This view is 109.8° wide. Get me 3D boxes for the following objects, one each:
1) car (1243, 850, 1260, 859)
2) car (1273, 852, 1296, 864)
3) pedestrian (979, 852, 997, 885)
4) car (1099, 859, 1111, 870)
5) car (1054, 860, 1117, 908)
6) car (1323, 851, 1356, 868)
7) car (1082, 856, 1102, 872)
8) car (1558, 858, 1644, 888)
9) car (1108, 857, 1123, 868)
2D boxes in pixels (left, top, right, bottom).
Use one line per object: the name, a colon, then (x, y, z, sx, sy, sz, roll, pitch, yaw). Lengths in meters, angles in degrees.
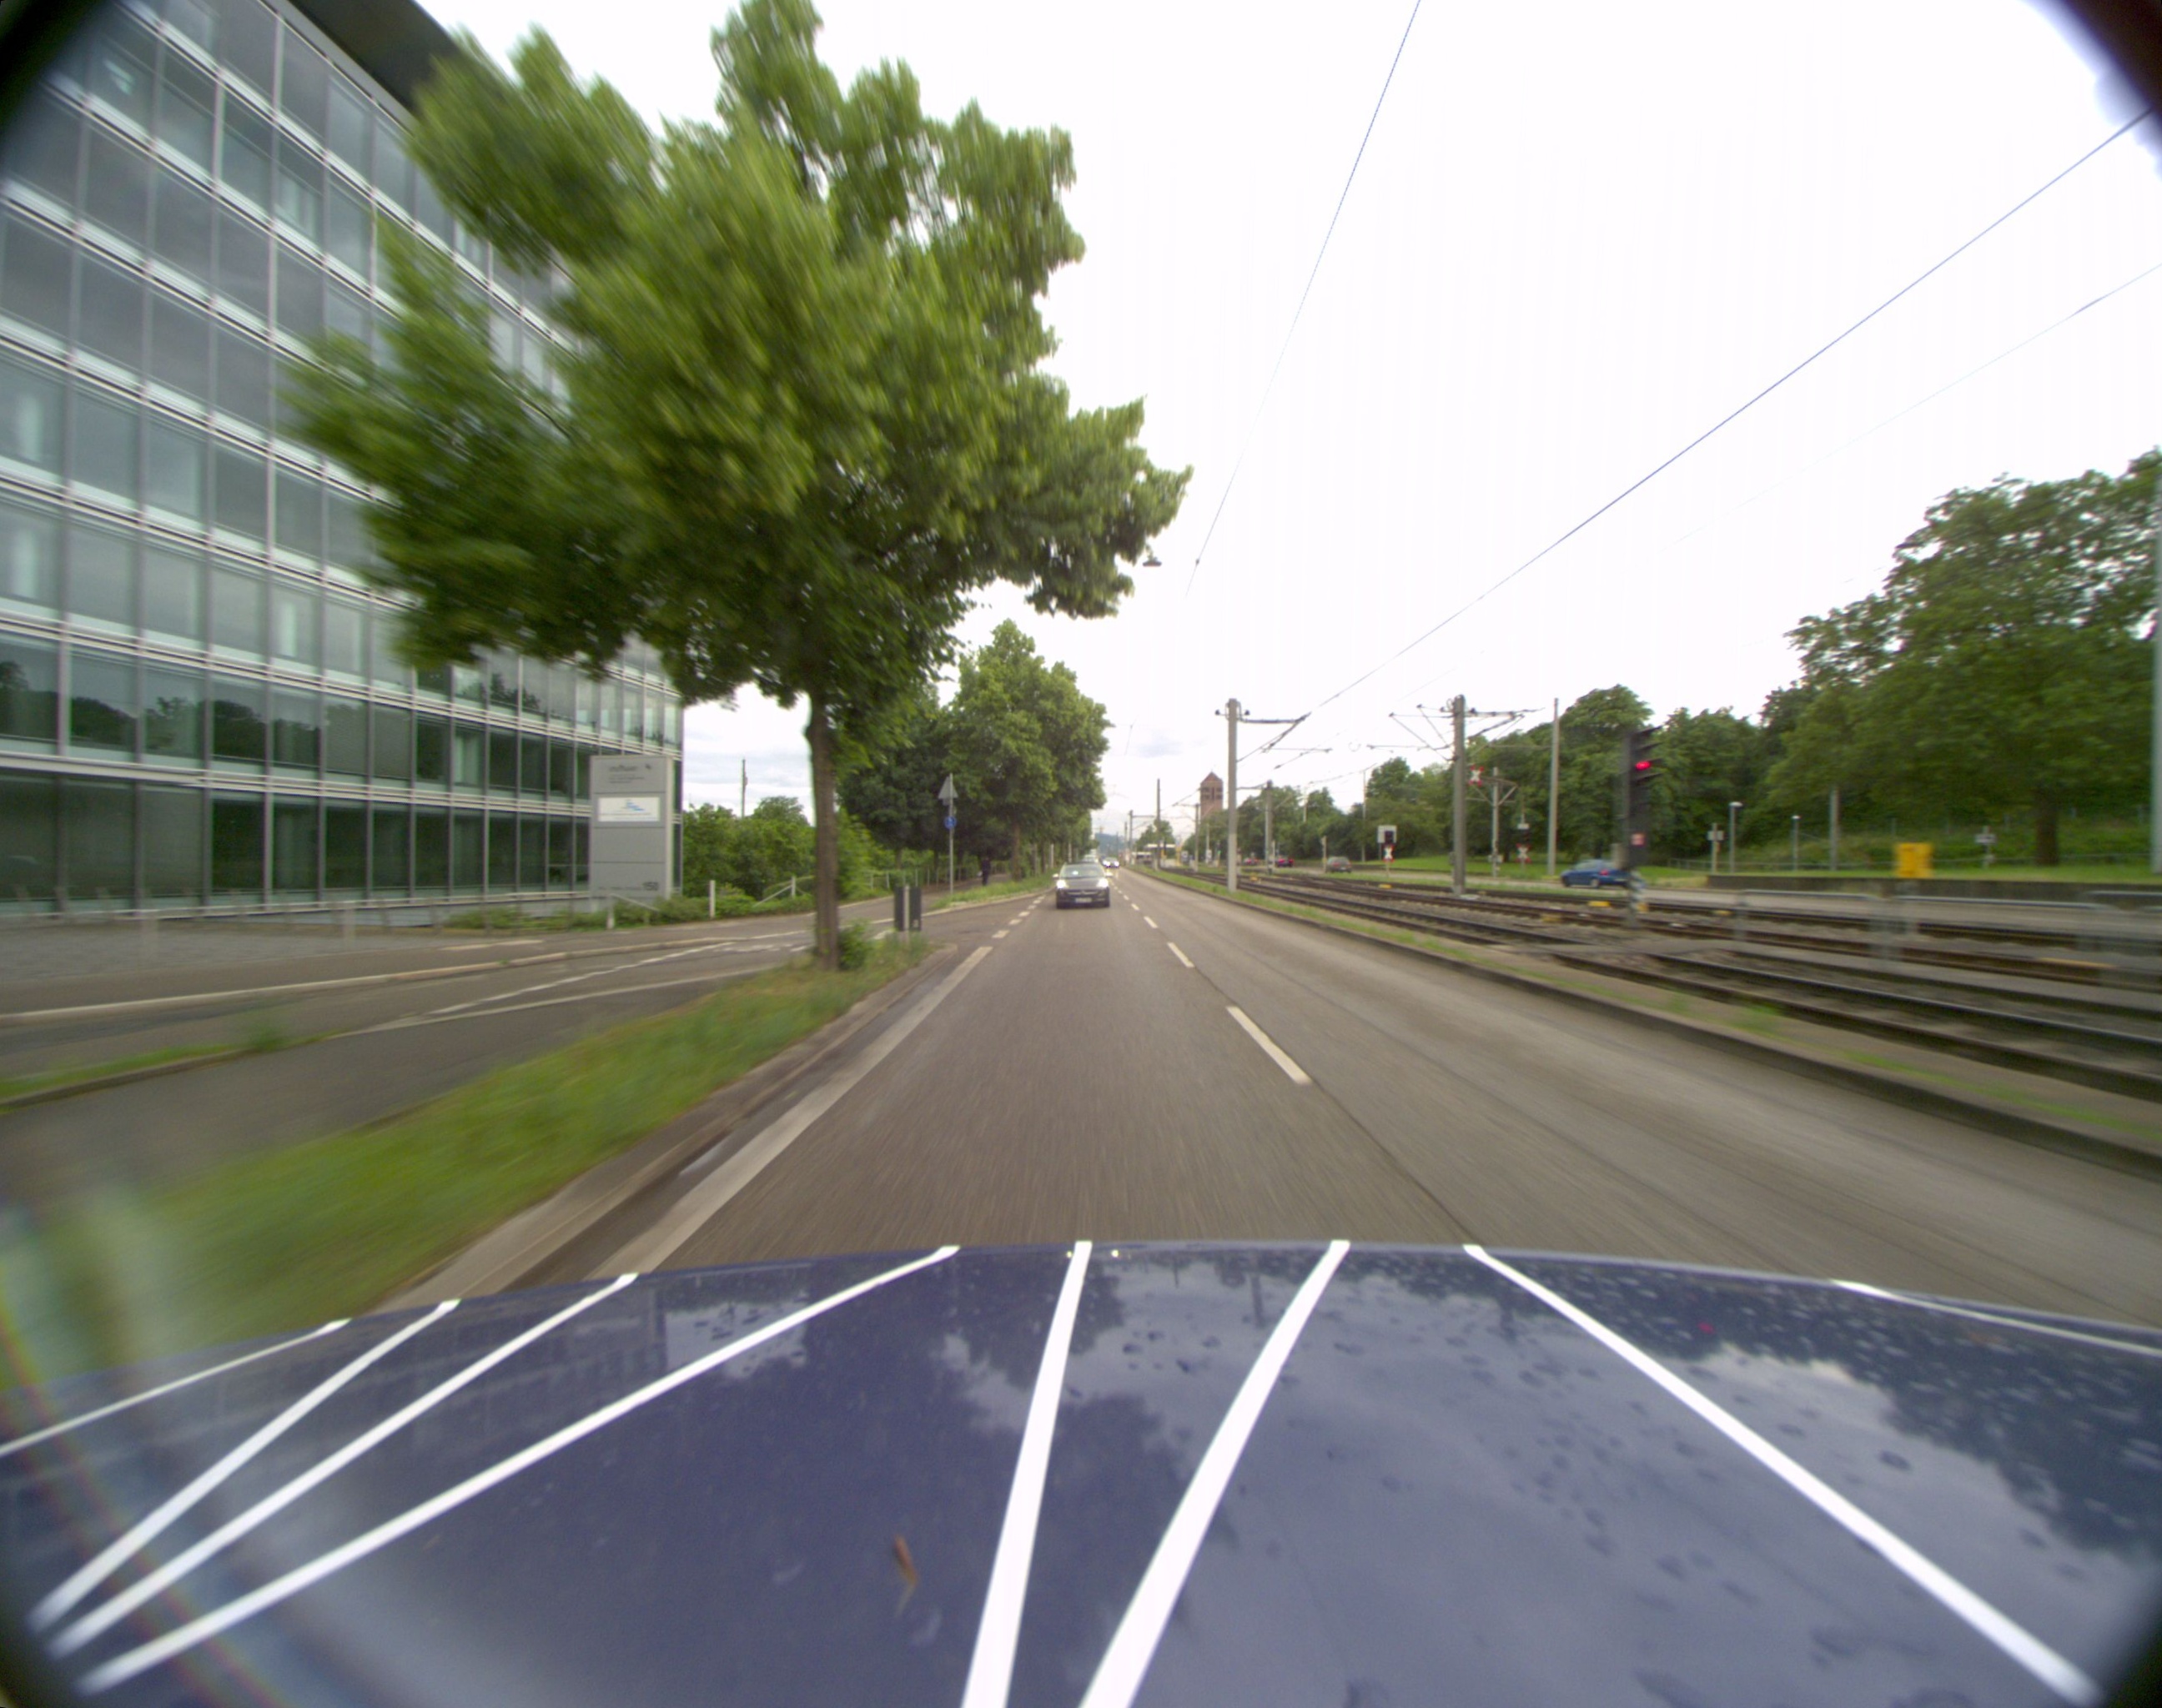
car: (28.295, 0.132, 126.283, 1.931, 1.438, 4.682, 0, 0, 1)
car: (28.108, 0.533, 105.096, 2.094, 1.579, 5.159, 0, 0, 3)
pedestrian: (-5.075, 0.798, 41.475, 0.828, 1.787, 0.867, -1, 1, 1)
car: (3.734, 1.677, 119.888, 1.812, 1.566, 3.971, -1, 0, 1)
car: (0.171, 0.952, 25.467, 1.899, 1.432, 4.474, -1, -1, 1)
car: (24.101, 0.502, 71.030, 1.895, 1.477, 4.309, 0, 0, 4)
car: (1.104, 1.007, 78.190, 1.998, 1.608, 4.000, -1, 0, 1)
car: (25.508, 0.882, 37.424, 1.765, 1.389, 3.901, 0, 0, 4)
car: (4.577, 1.101, 101.657, 1.899, 1.432, 4.247, -1, -1, 1)
